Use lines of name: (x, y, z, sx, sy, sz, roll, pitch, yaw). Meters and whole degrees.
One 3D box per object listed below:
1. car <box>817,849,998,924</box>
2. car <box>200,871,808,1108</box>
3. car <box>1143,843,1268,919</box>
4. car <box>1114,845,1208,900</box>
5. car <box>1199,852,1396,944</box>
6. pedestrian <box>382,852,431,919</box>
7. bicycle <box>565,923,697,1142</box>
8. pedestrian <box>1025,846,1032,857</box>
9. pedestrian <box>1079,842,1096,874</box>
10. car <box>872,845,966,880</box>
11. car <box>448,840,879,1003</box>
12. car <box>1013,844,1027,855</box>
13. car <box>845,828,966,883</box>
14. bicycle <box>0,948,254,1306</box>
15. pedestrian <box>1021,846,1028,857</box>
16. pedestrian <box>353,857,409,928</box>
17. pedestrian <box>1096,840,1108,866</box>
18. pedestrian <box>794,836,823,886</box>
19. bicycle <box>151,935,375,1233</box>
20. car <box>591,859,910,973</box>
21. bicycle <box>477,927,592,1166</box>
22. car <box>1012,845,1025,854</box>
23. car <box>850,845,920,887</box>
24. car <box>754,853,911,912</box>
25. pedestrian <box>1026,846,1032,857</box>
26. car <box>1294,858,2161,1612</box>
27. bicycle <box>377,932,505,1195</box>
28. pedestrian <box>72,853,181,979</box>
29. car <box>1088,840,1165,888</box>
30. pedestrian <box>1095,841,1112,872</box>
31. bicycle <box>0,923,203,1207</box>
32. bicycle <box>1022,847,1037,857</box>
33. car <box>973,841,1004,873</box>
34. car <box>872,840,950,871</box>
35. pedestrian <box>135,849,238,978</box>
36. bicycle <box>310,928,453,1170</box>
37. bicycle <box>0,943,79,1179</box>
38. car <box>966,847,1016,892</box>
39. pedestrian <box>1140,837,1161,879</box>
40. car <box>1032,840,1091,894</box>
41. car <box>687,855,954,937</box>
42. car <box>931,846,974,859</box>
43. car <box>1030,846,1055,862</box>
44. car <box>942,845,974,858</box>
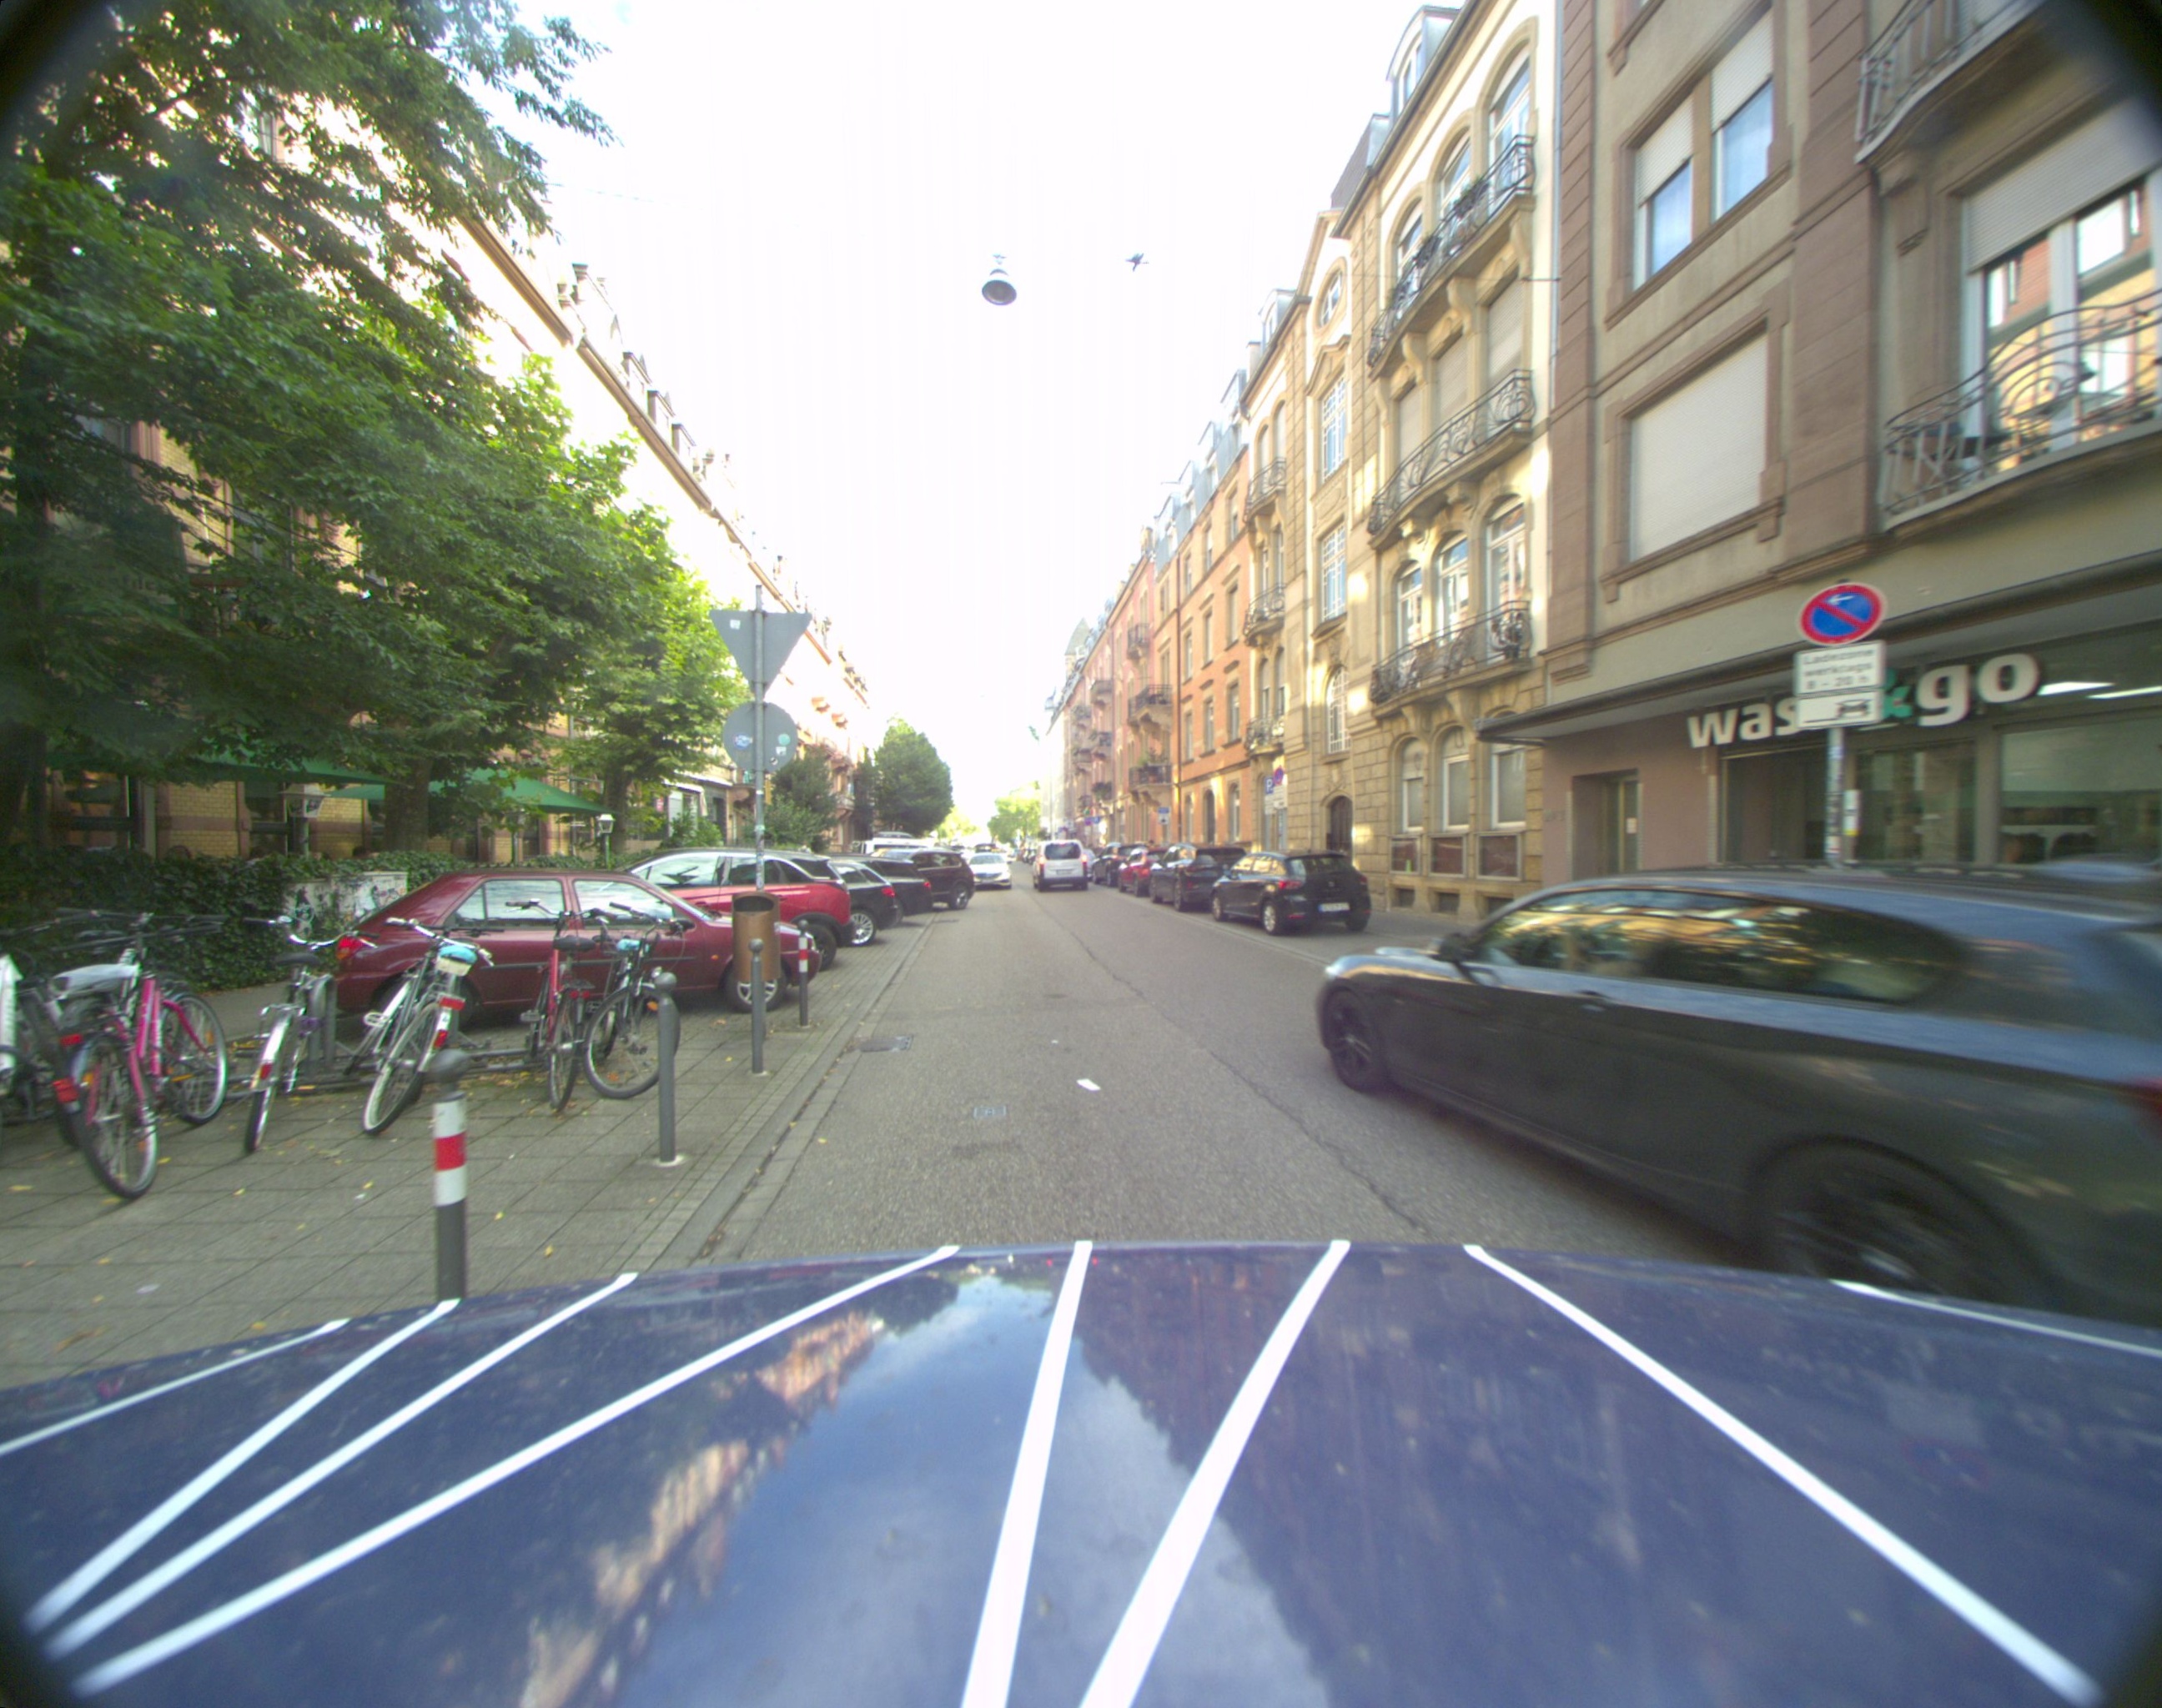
car: (-4.433, 0.757, 19.991, 1.870, 1.644, 4.395, -1, 2, 38)
car: (-4.786, 0.955, 6.966, 3.951, 1.448, 1.765, -1, 1, -35)
car: (2.933, 0.557, 19.036, 1.796, 1.619, 4.843, -1, 1, -7)
car: (2.439, 0.511, 24.485, 2.000, 1.536, 4.422, -1, 1, -8)
car: (3.803, 0.687, 14.238, 2.000, 1.412, 4.241, -1, 1, -8)
pedestrian: (-12.609, 0.575, 14.215, 0.467, 1.212, 0.563, 2, 1, -16)
bicycle: (-3.107, 1.084, 5.163, 0.551, 1.034, 1.851, 2, 0, -36)
pedestrian: (-6.550, -0.334, 94.798, 0.668, 1.328, 0.739, -2, 2, -1)
pedestrian: (0.362, 0.201, 40.799, 0.566, 1.699, 0.666, -3, 2, -42)
car: (-8.676, 0.410, 40.903, 4.466, 1.722, 1.994, -2, 1, -42)
car: (-5.004, 0.728, 9.586, 4.363, 1.635, 1.817, 2, 0, -33)
car: (-9.266, -0.689, 115.744, 1.829, 1.477, 4.166, -2, 1, -7)
car: (-8.068, 0.052, 35.205, 5.170, 2.391, 1.912, 0, 1, -40)
bicycle: (-4.385, 1.076, 3.500, 0.390, 1.034, 1.915, 2, 0, -36)
pedestrian: (-6.986, -0.280, 93.940, 0.739, 1.341, 0.644, -2, 2, -5)
pedestrian: (-12.520, 0.677, 13.605, 0.489, 1.212, 0.649, 2, 1, -16)
pedestrian: (1.411, -0.084, 51.486, 0.666, 1.686, 0.763, -2, 1, -7)
pedestrian: (-10.418, 0.255, 29.028, 0.842, 1.867, 0.722, 0, 1, -3)
bicycle: (-4.287, 1.067, 4.102, 0.446, 1.034, 1.900, 2, 0, -36)
car: (-5.230, 0.847, 12.246, 4.422, 1.448, 1.938, -1, 1, -32)
bicycle: (-3.447, 1.077, 4.792, 0.462, 1.034, 1.851, 2, 0, -36)
car: (-10.041, -0.762, 121.775, 1.912, 1.412, 3.997, -2, 1, -7)
car: (-8.269, 0.526, 32.073, 2.473, 1.656, 1.343, 3, -1, -33)
car: (-6.781, 0.723, 20.966, 1.736, 1.476, 3.728, 1, 0, 45)
pedestrian: (-6.368, -0.331, 93.435, 0.690, 1.365, 0.739, -2, 2, -4)
car: (2.764, 0.813, 3.325, 1.756, 1.428, 4.206, -2, 2, -12)
bicycle: (-3.775, 1.100, 4.571, 0.348, 1.034, 2.012, 2, 0, -34)
pedestrian: (-12.327, 0.774, 9.832, 0.630, 1.561, 0.569, 0, 1, -11)
car: (1.696, 0.357, 30.167, 1.879, 1.671, 4.889, -2, 0, -11)
pedestrian: (1.194, 0.138, 40.650, 0.683, 1.652, 0.550, -3, 2, -37)
bicycle: (-5.252, 0.988, 4.036, 0.355, 1.067, 1.793, 2, 0, -36)
bicycle: (-6.259, -0.218, 92.316, 1.874, 1.168, 0.687, -2, 1, -6)
car: (-5.975, 0.143, 49.363, 1.812, 1.914, 3.997, -3, 1, -6)
car: (-10.770, 0.107, 48.352, 4.652, 1.774, 1.809, 2, -1, -8)
pedestrian: (-11.675, 0.764, 9.938, 0.648, 1.633, 0.563, 2, 1, -11)
bicycle: (-4.261, 1.073, 4.715, 0.348, 1.034, 1.852, 2, 0, -34)
bicycle: (-5.222, 1.016, 3.485, 0.337, 1.034, 1.452, 2, 0, -36)
car: (-3.624, 0.576, 30.943, 1.812, 1.622, 3.997, -3, 1, -6)
pedestrian: (3.030, 0.163, 33.120, 0.758, 1.798, 0.862, -2, 1, -4)
car: (-0.818, 0.406, 28.785, 1.923, 1.818, 4.435, -2, 1, -5)
car: (-5.246, 0.796, 15.578, 4.778, 1.448, 2.051, 1, -1, -35)
car: (-15.359, -0.181, 91.025, 4.818, 1.535, 1.865, 1, 1, -39)
car: (-3.560, 0.005, 69.827, 1.818, 1.343, 5.110, -2, 1, -8)
car: (-17.323, -0.398, 107.297, 4.007, 1.663, 1.922, -3, 2, -39)
